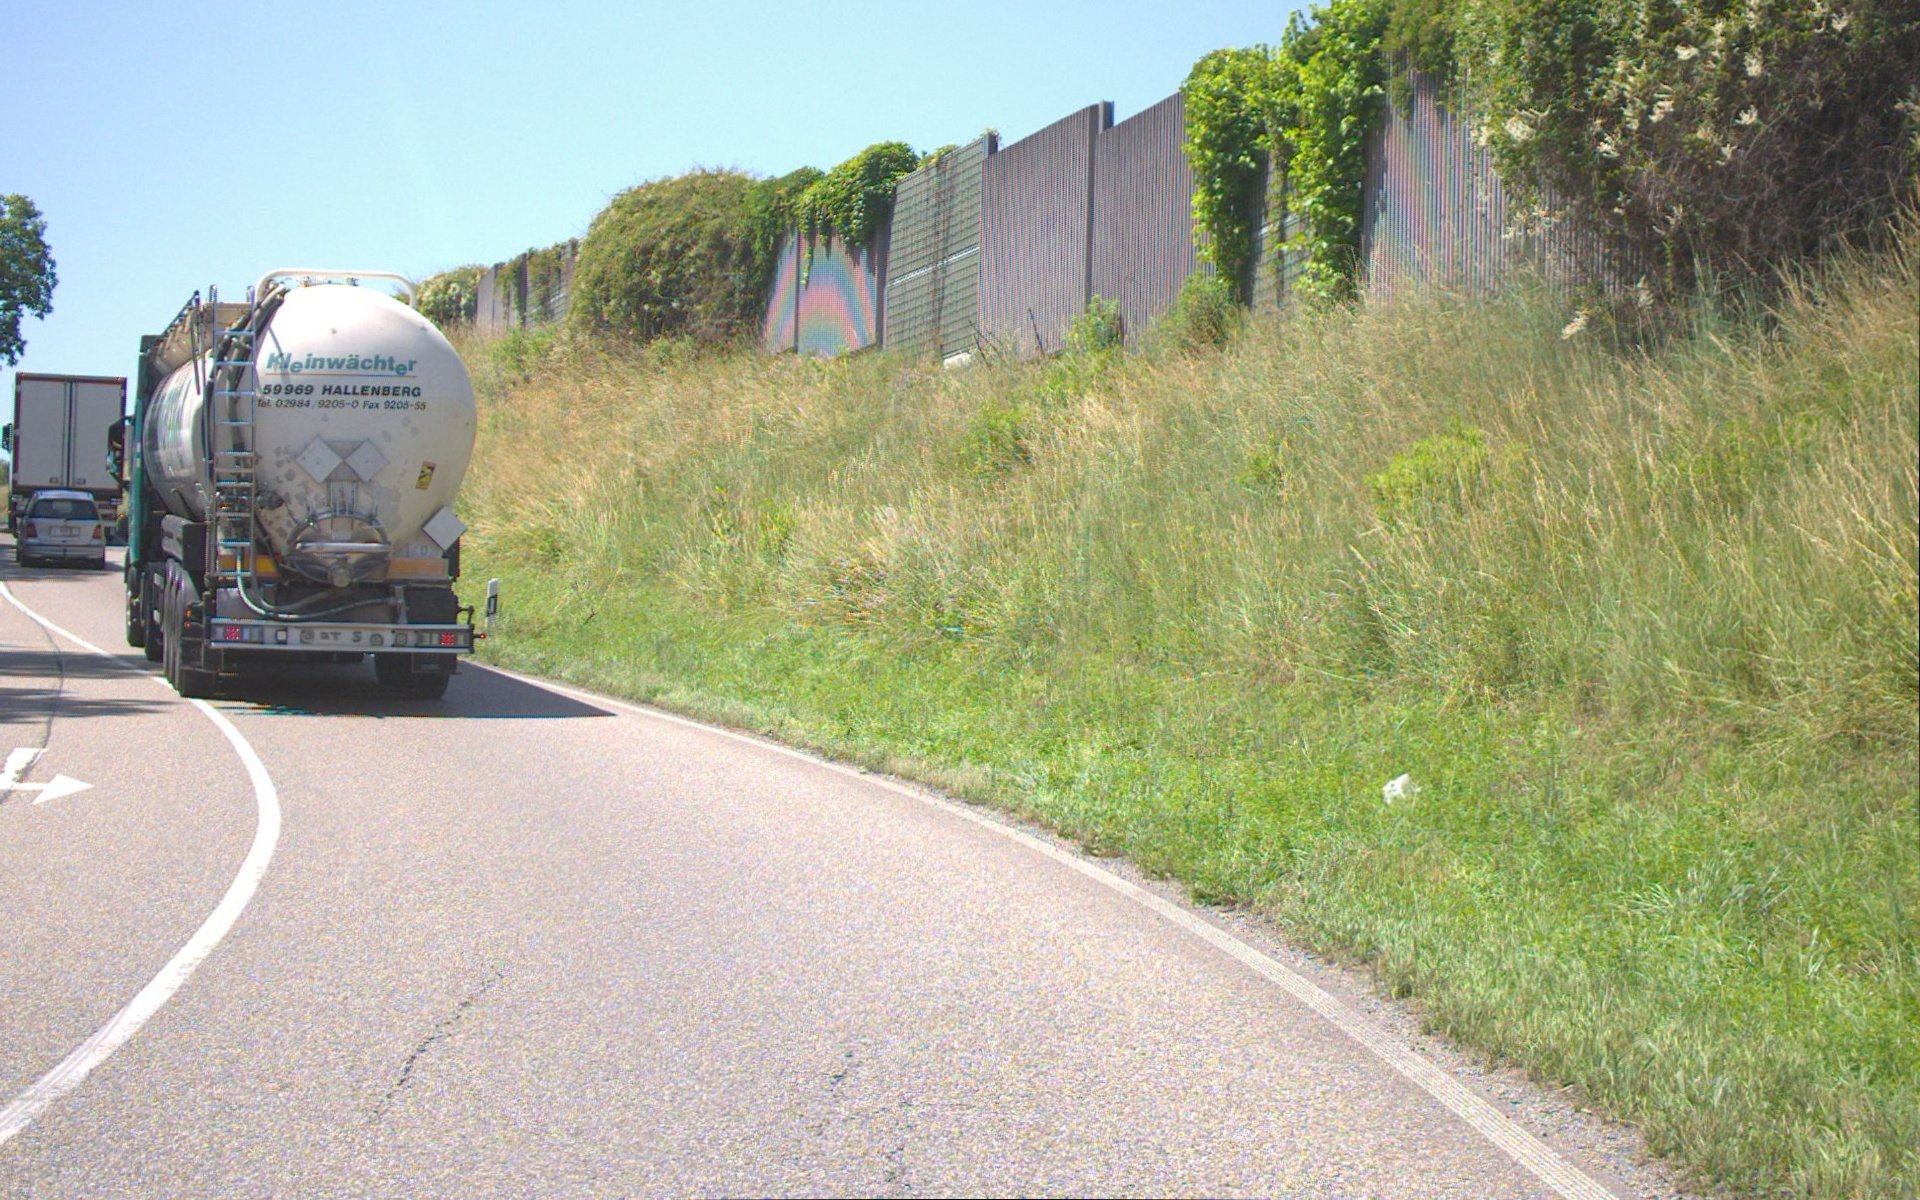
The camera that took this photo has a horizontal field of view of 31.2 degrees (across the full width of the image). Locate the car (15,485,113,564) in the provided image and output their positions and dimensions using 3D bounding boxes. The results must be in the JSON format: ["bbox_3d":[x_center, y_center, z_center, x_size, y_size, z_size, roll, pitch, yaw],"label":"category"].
[{"bbox_3d":[-18.322,-1.536,70.226,1.647,1.504,3.640,2,0,-19],"label":"car"}]

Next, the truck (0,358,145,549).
[{"bbox_3d":[-22.897,-3.706,87.939,3.189,4.295,11.804,4,1,-16],"label":"truck"}]

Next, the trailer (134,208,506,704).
[{"bbox_3d":[-6.911,-1.390,35.542,2.660,4.174,11.908,2,1,-15],"label":"trailer"}]

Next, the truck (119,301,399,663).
[{"bbox_3d":[-8.587,-1.389,41.478,2.726,3.916,7.266,1,1,-15],"label":"truck"}]
